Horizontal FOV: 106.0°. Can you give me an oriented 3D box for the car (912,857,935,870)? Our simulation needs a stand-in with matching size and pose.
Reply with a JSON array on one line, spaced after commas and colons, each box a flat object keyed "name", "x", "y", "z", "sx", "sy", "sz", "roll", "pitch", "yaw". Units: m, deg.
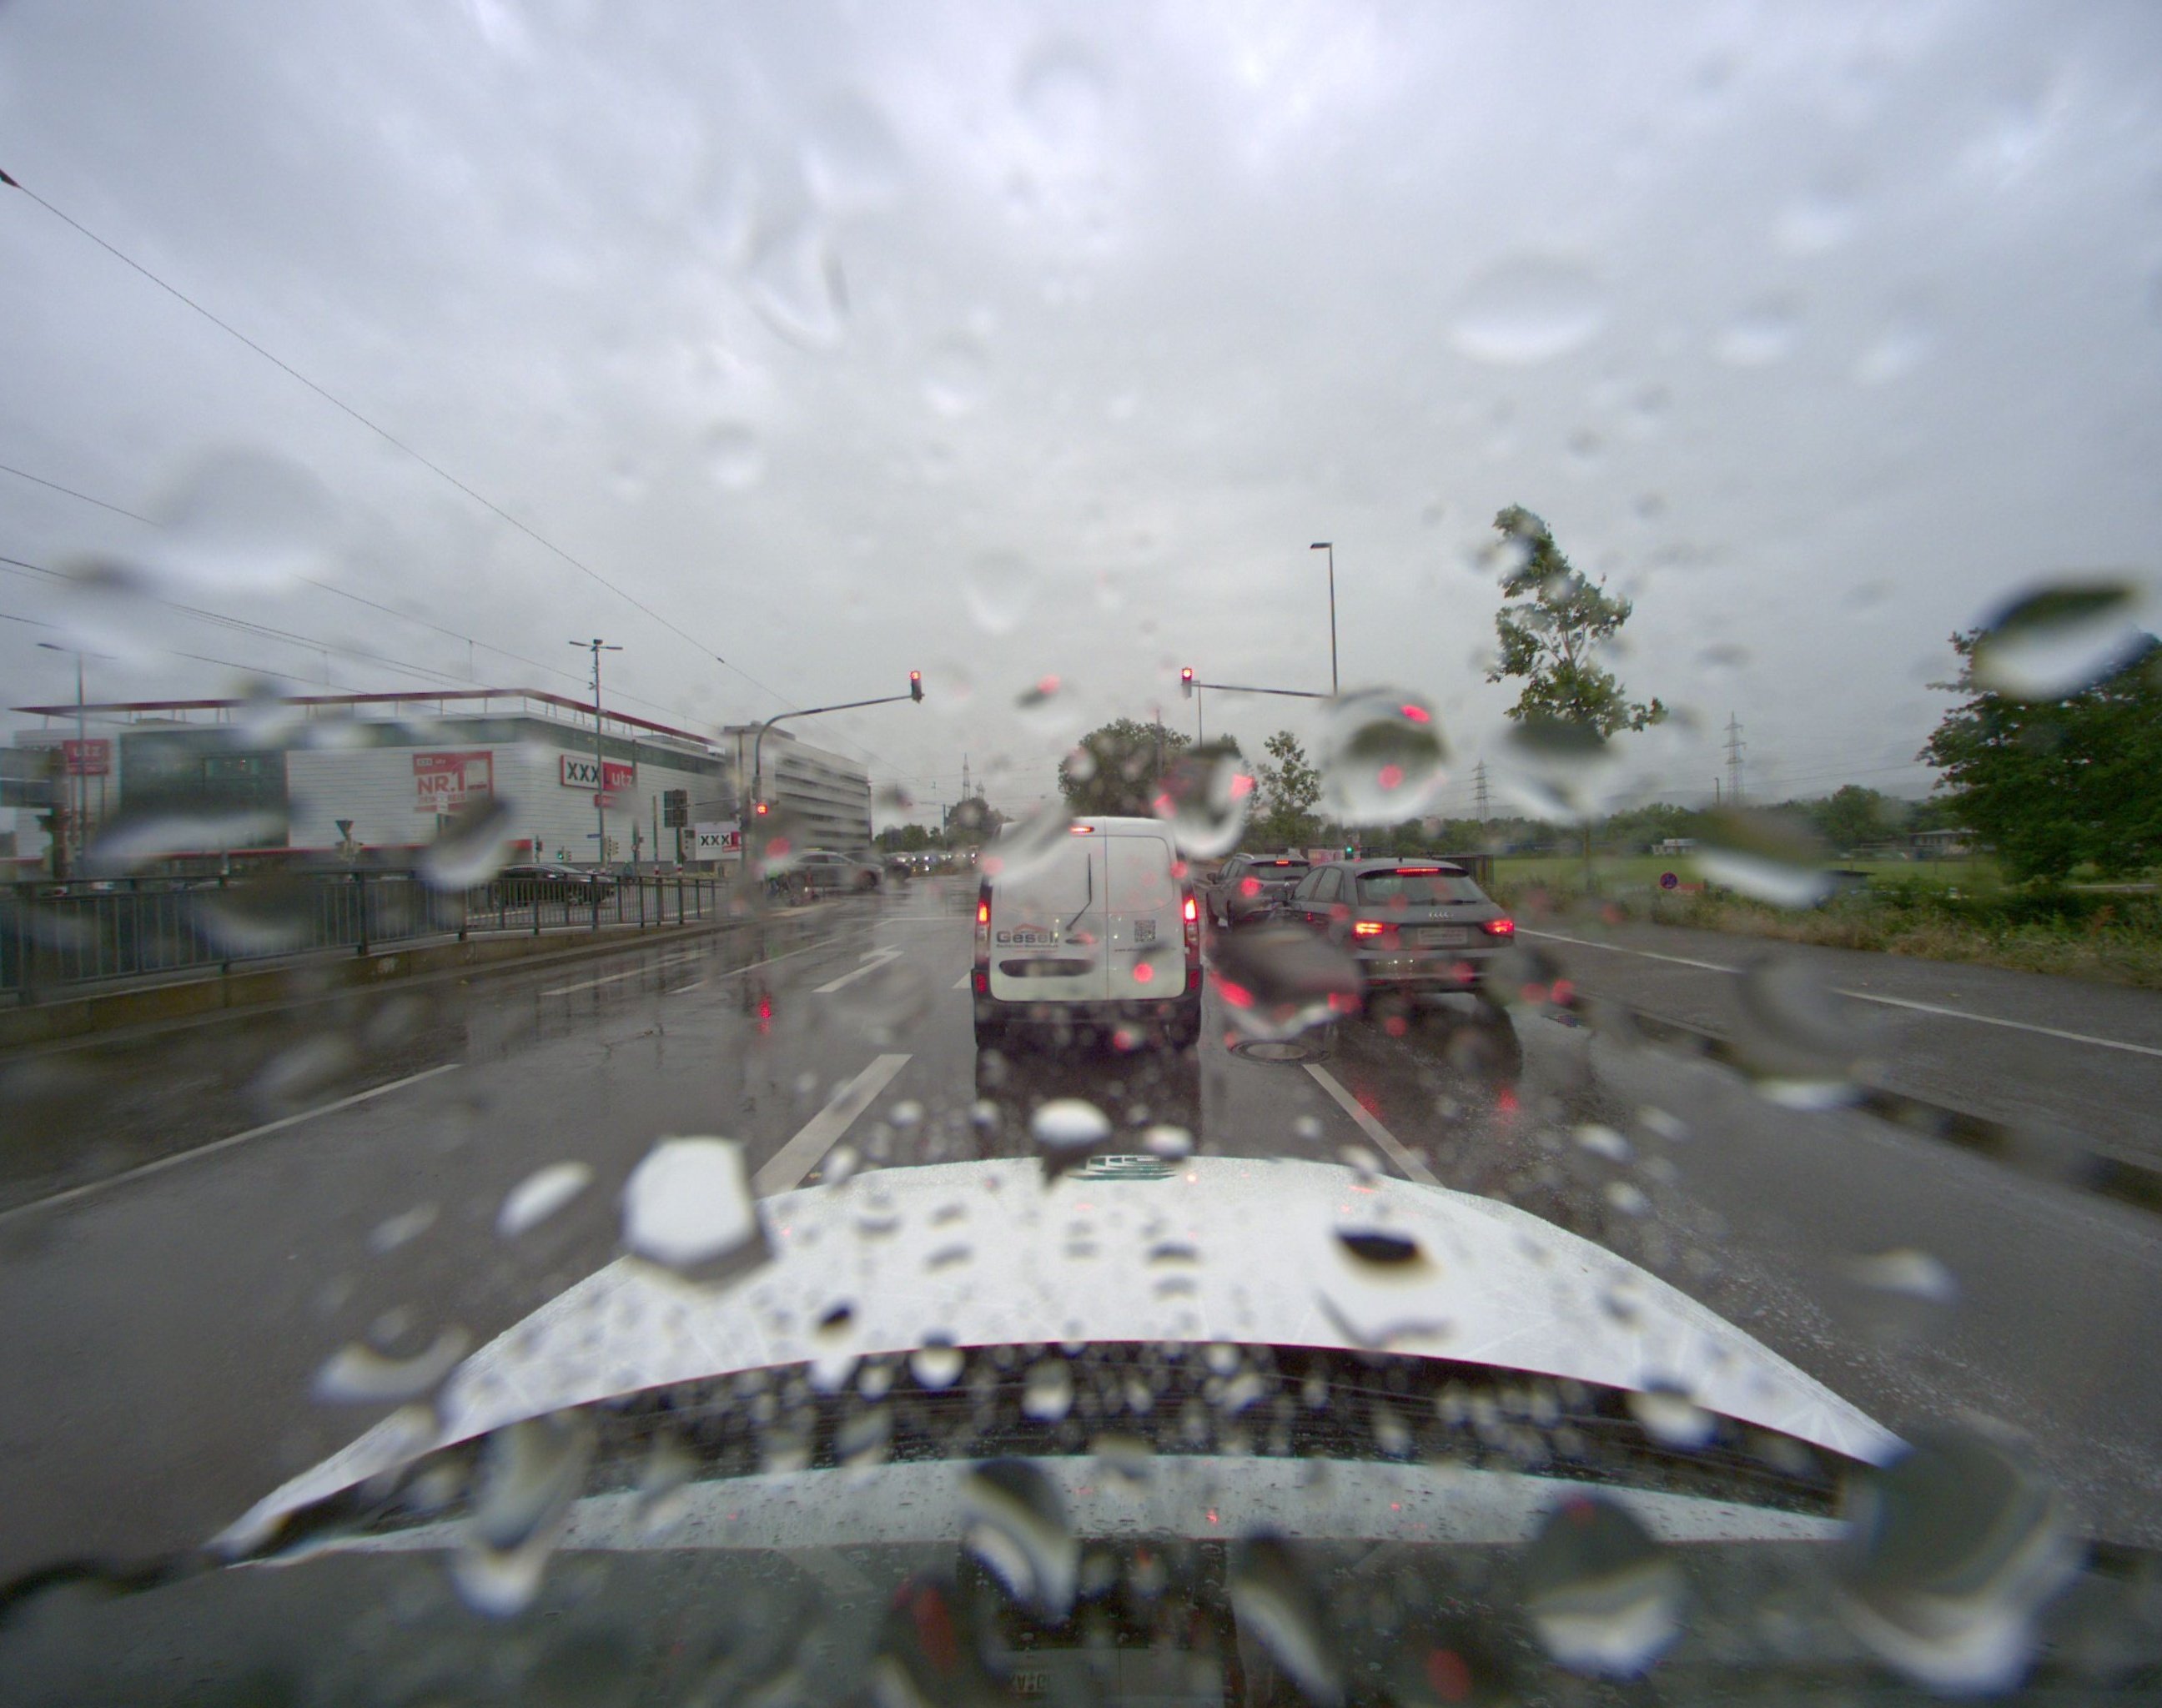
[{"name": "car", "x": -17.724, "y": 1.086, "z": 91.813, "sx": 1.704, "sy": 1.426, "sz": 3.810, "roll": 1, "pitch": -1, "yaw": 2}]

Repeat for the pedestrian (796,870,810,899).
[{"name": "pedestrian", "x": -8.831, "y": 0.953, "z": 25.872, "sx": 0.314, "sy": 0.897, "sz": 0.380, "roll": 1, "pitch": 0, "yaw": -1}]

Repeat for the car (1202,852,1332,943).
[{"name": "car", "x": 3.398, "y": 0.731, "z": 15.569, "sx": 1.678, "sy": 1.508, "sz": 3.921, "roll": 0, "pitch": 0, "yaw": 1}]

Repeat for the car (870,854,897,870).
[{"name": "car", "x": -18.880, "y": 0.758, "z": 78.032, "sx": 1.554, "sy": 1.426, "sz": 3.570, "roll": 1, "pitch": -1, "yaw": 2}]

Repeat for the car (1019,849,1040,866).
[{"name": "car", "x": -5.309, "y": 0.422, "z": 84.367, "sx": 1.942, "sy": 1.662, "sz": 4.461, "roll": 0, "pitch": -1, "yaw": -1}]

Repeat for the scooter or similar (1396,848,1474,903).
[{"name": "scooter or similar", "x": 8.518, "y": 0.468, "z": 19.762, "sx": 0.687, "sy": 1.211, "sz": 3.022, "roll": -2, "pitch": 0, "yaw": 3}]

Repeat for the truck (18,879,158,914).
[{"name": "truck", "x": -60.232, "y": 2.557, "z": 49.468, "sx": 5.859, "sy": 1.942, "sz": 2.012, "roll": 1, "pitch": -1, "yaw": 0}]

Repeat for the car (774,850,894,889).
[{"name": "car", "x": -10.124, "y": 0.654, "z": 33.376, "sx": 4.516, "sy": 1.502, "sz": 1.700, "roll": 1, "pitch": -1, "yaw": -24}]

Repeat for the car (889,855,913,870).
[{"name": "car", "x": -18.612, "y": 0.887, "z": 84.517, "sx": 1.554, "sy": 1.426, "sz": 3.570, "roll": 1, "pitch": -1, "yaw": 2}]

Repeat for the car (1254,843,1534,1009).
[{"name": "car", "x": 3.075, "y": 0.656, "z": 8.817, "sx": 1.592, "sy": 1.366, "sz": 3.629, "roll": -2, "pitch": -1, "yaw": 0}]

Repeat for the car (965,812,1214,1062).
[{"name": "car", "x": 0.011, "y": 0.557, "z": 7.861, "sx": 1.749, "sy": 1.750, "sz": 4.166, "roll": -1, "pitch": 1, "yaw": -2}]

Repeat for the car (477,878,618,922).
[{"name": "car", "x": -19.304, "y": 1.668, "z": 29.631, "sx": 3.914, "sy": 1.398, "sz": 1.529, "roll": 2, "pitch": 0, "yaw": -12}]

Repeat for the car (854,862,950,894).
[{"name": "car", "x": -8.807, "y": 1.187, "z": 40.206, "sx": 4.500, "sy": 1.502, "sz": 1.706, "roll": 1, "pitch": -1, "yaw": -14}]

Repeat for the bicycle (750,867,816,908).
[{"name": "bicycle", "x": -8.730, "y": 0.976, "z": 23.887, "sx": 1.768, "sy": 1.137, "sz": 0.514, "roll": 0, "pitch": 0, "yaw": -41}]

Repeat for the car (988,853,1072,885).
[{"name": "car", "x": -2.439, "y": 0.738, "z": 40.059, "sx": 1.798, "sy": 1.502, "sz": 4.300, "roll": 0, "pitch": -1, "yaw": 36}]

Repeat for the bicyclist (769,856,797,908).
[{"name": "bicyclist", "x": -8.744, "y": 0.797, "z": 23.875, "sx": 0.608, "sy": 1.491, "sz": 0.593, "roll": 0, "pitch": -1, "yaw": -39}]
